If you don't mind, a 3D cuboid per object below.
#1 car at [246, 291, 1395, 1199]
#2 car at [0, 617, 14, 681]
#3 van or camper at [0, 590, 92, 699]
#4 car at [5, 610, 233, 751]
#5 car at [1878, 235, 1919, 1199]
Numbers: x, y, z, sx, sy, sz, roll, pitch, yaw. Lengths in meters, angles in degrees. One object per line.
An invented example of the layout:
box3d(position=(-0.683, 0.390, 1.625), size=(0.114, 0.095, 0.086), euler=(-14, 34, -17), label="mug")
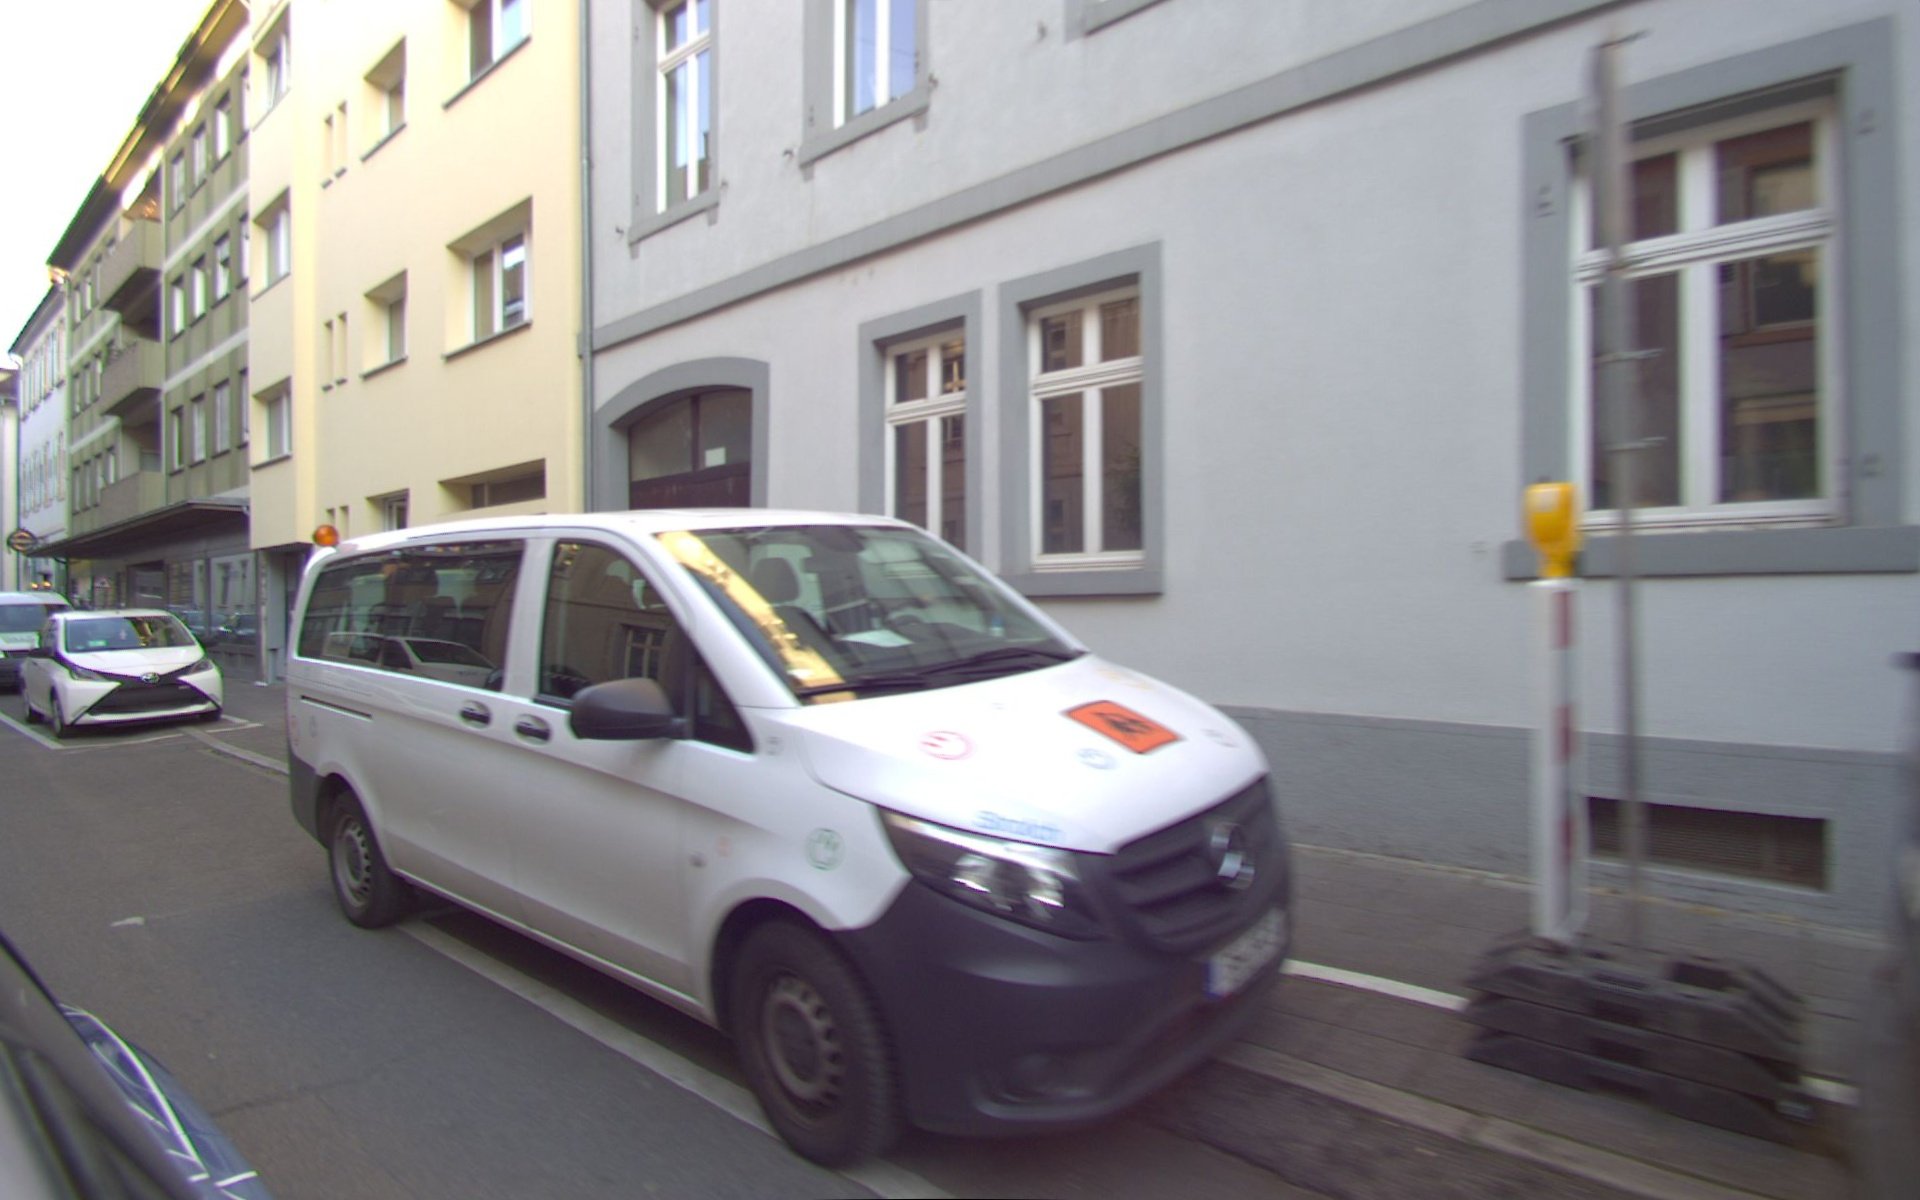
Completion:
box3d(position=(-1.118, 0.477, 4.254), size=(5.102, 2.029, 1.843), euler=(-1, -1, 40), label="car")
box3d(position=(-23.576, 1.131, 23.696), size=(3.977, 1.426, 1.608), euler=(-1, 0, 40), label="car")
box3d(position=(-17.726, 0.797, 18.923), size=(4.177, 1.862, 1.753), euler=(-1, -1, 42), label="van or camper")
box3d(position=(-10.786, 0.907, 12.910), size=(3.519, 1.459, 1.645), euler=(-1, 2, 41), label="car")
box3d(position=(3.571, 0.348, 0.262), size=(4.810, 2.029, 1.843), euler=(-1, -1, 40), label="car")
